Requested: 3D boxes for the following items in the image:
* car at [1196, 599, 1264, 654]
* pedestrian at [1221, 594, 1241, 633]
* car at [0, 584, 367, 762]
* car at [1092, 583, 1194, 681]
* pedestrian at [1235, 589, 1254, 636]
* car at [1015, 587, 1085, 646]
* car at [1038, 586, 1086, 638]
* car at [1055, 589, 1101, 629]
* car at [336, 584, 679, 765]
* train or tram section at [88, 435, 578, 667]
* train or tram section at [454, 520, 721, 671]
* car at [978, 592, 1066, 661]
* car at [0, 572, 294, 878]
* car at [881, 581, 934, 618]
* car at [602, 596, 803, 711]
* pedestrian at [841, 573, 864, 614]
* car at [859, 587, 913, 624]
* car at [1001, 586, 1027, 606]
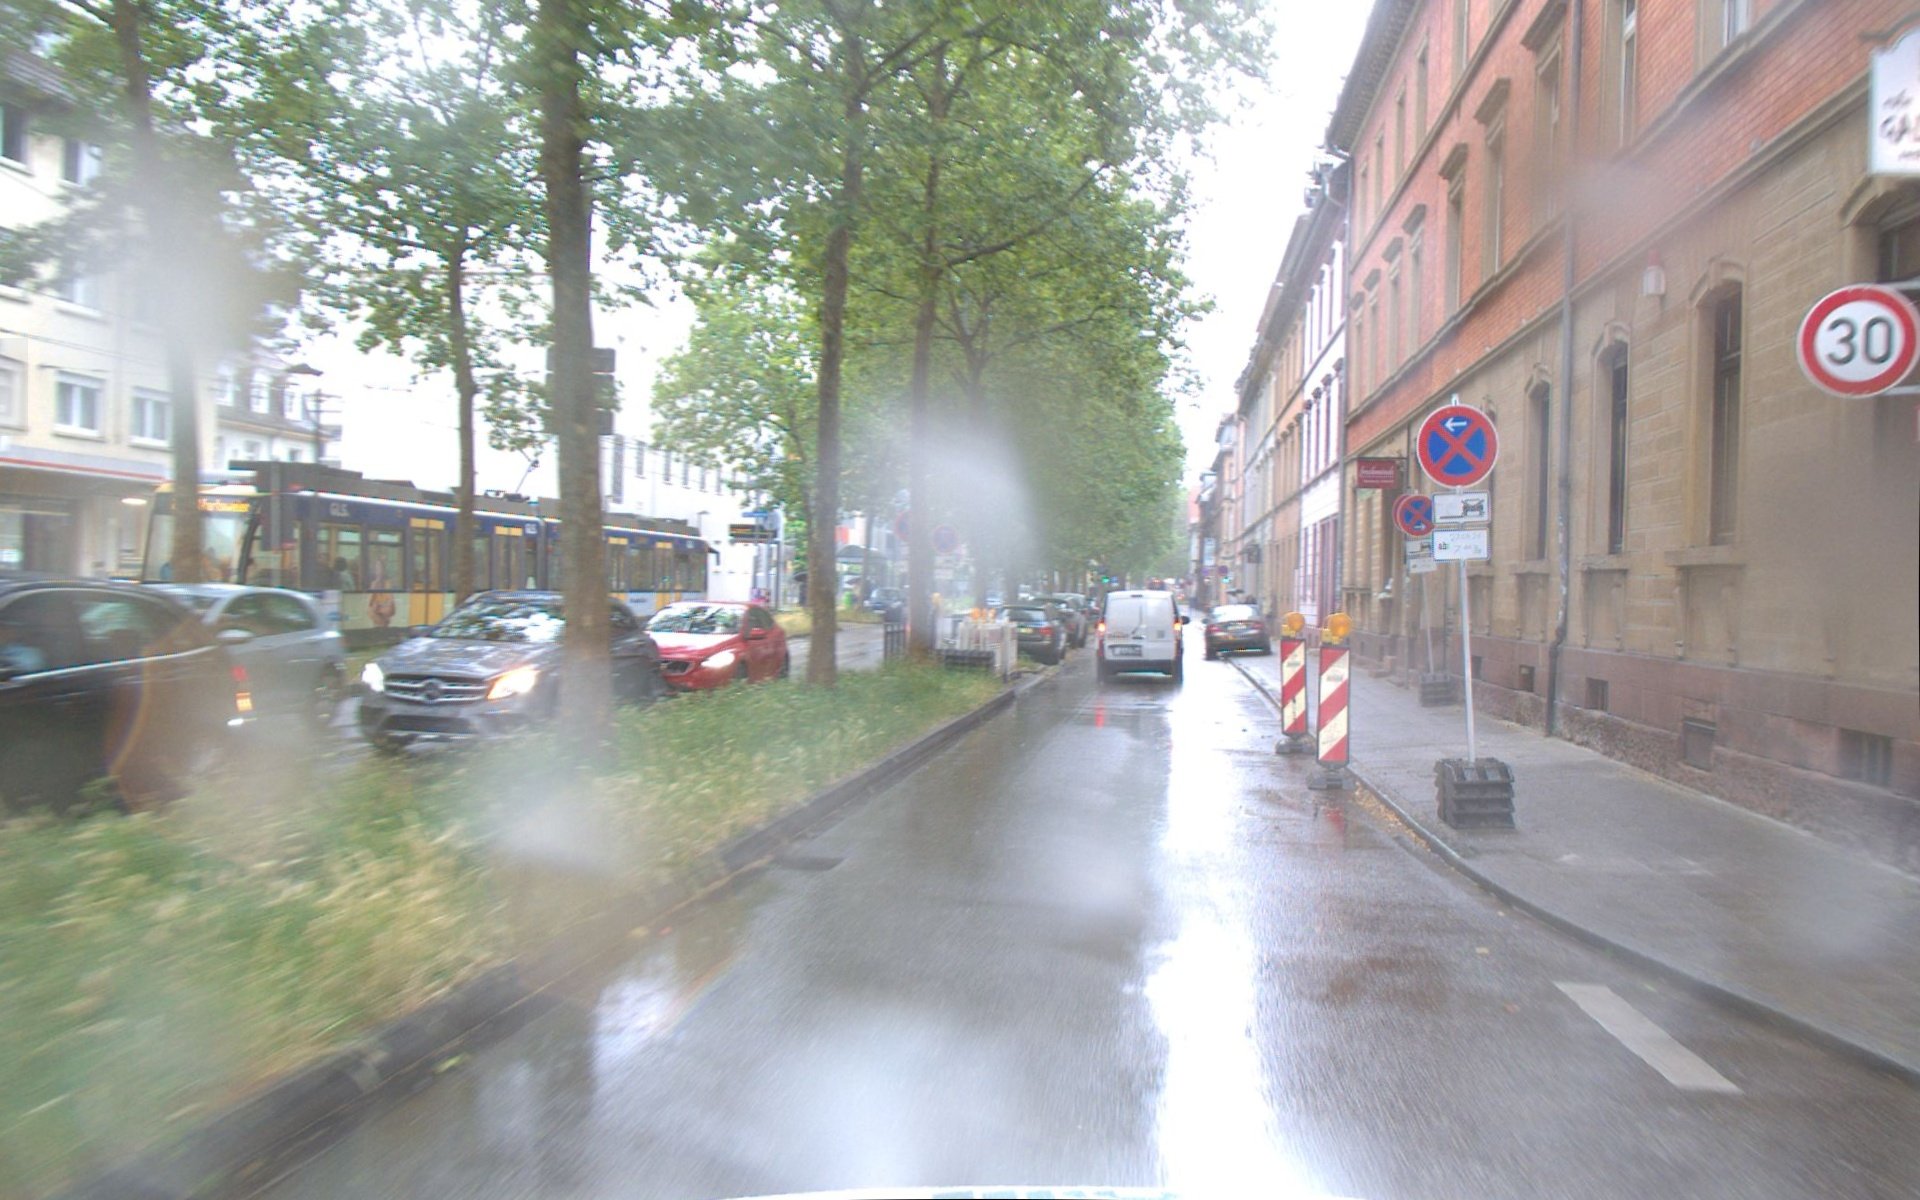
[{"bbox_3d":[7.725,0.716,47.224,1.775,1.445,4.701,-2,0,10],"label":"car"},{"bbox_3d":[12.431,0.623,75.825,0.822,1.746,1.108,-2,0,7],"label":"pedestrian"},{"bbox_3d":[-7.518,0.593,15.888,1.704,1.422,4.133,2,0,7],"label":"car"},{"bbox_3d":[3.694,0.646,33.972,1.864,1.829,4.115,2,-1,4],"label":"car"},{"bbox_3d":[10.481,0.468,60.929,0.625,1.714,0.604,-1,0,6],"label":"pedestrian"},{"bbox_3d":[2.753,0.481,49.811,1.662,1.664,4.358,1,0,8],"label":"car"},{"bbox_3d":[3.696,0.394,59.702,1.590,1.711,3.662,3,1,4],"label":"car"},{"bbox_3d":[4.942,0.374,68.914,1.614,1.526,4.122,4,0,7],"label":"car"},{"bbox_3d":[-4.312,0.631,16.571,1.704,1.506,4.435,2,0,7],"label":"car"},{"bbox_3d":[-11.958,-0.526,34.351,3.040,3.621,14.585,1,-3,6],"label":"train or tram section"},{"bbox_3d":[-10.416,0.192,48.841,3.040,3.621,14.682,1,-3,6],"label":"train or tram section"},{"bbox_3d":[1.601,0.623,40.875,1.790,1.530,4.617,3,0,6],"label":"car"},{"bbox_3d":[-5.664,0.610,8.865,1.817,1.511,4.643,2,0,7],"label":"car"},{"bbox_3d":[-2.447,-0.047,78.512,1.951,1.641,4.003,2,1,6],"label":"car"},{"bbox_3d":[-3.548,0.688,23.581,1.704,1.422,4.236,2,0,7],"label":"car"},{"bbox_3d":[-4.601,-0.271,71.083,0.800,1.733,0.873,2,0,6],"label":"pedestrian"},{"bbox_3d":[-3.122,0.213,70.453,1.702,1.366,3.758,5,1,6],"label":"car"},{"bbox_3d":[4.574,-0.379,140.717,1.953,1.608,3.999,2,1,-2],"label":"car"}]
